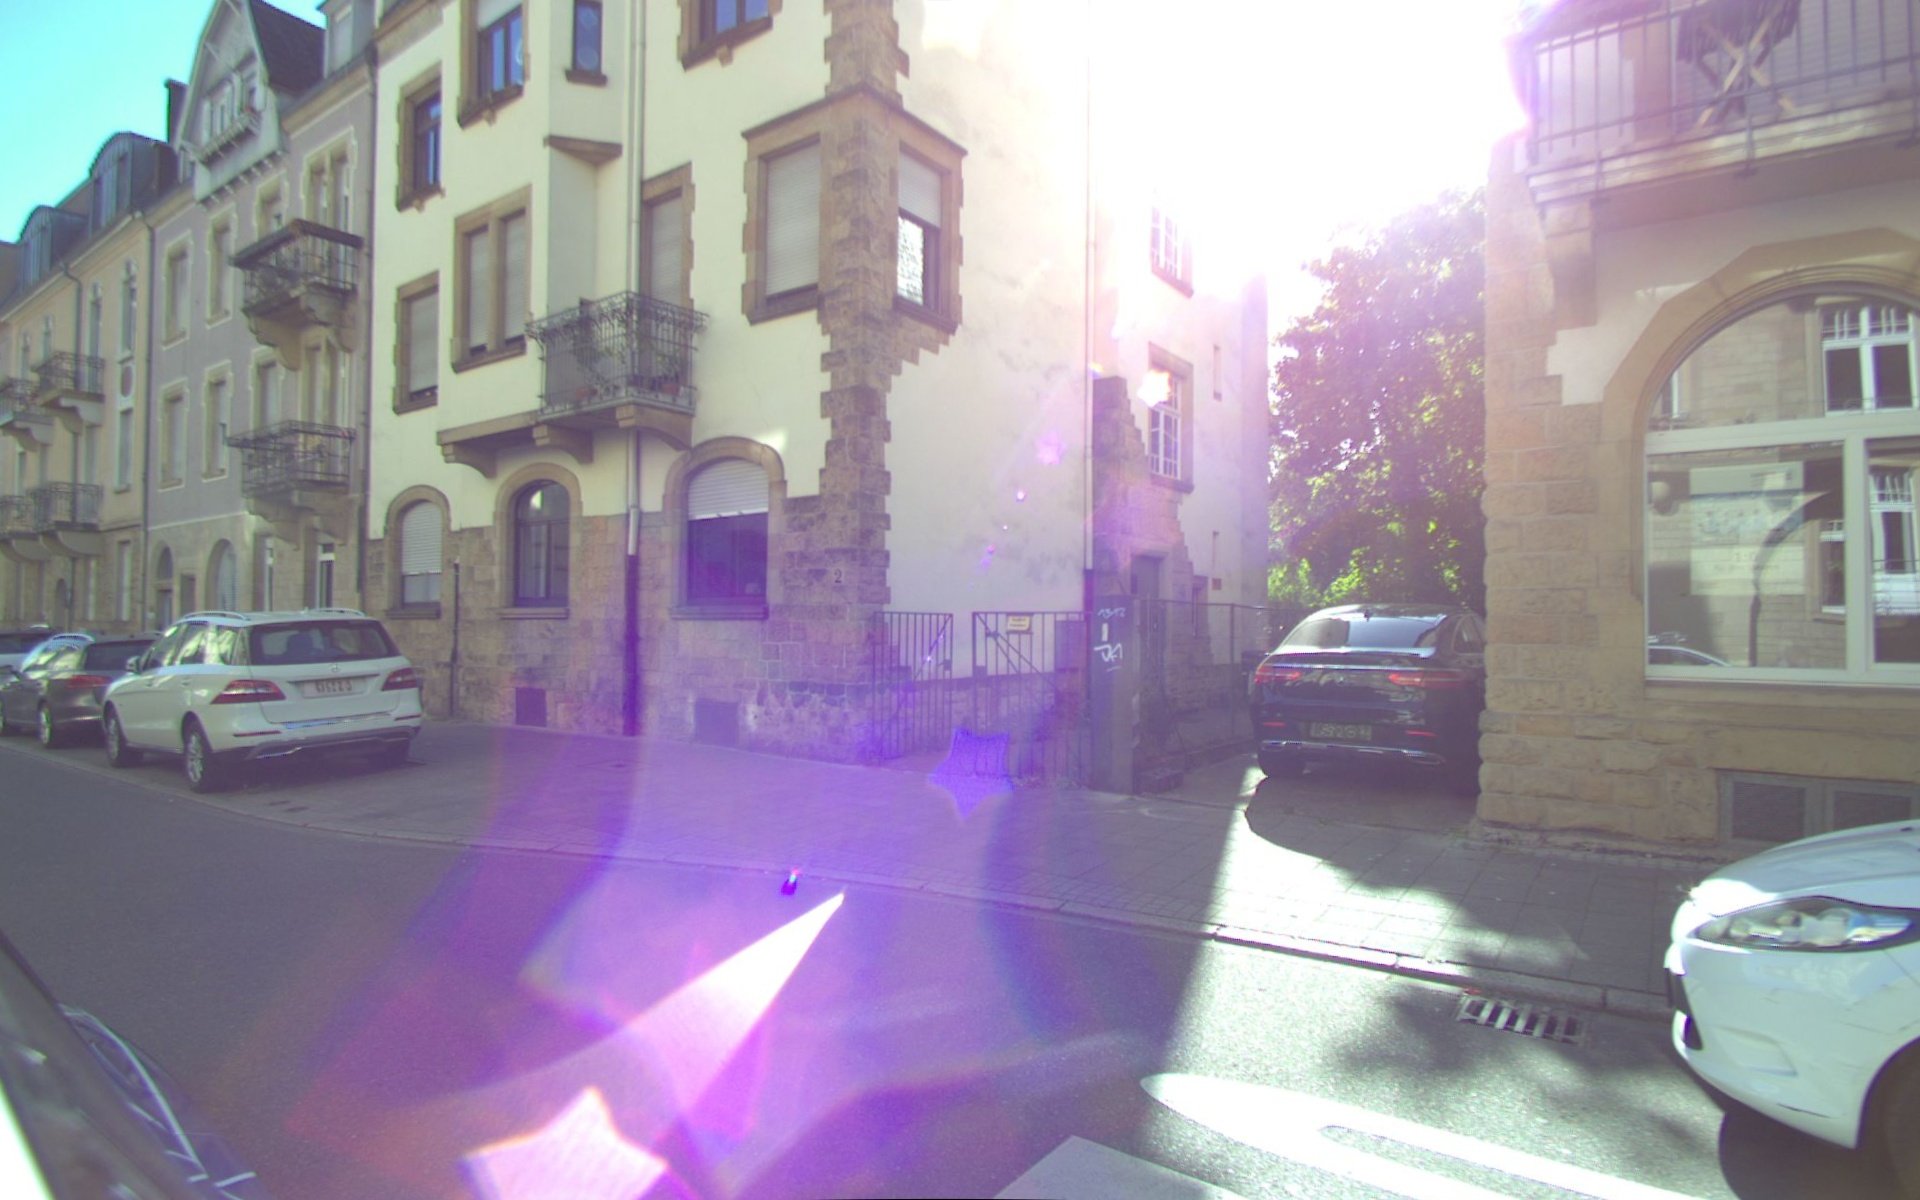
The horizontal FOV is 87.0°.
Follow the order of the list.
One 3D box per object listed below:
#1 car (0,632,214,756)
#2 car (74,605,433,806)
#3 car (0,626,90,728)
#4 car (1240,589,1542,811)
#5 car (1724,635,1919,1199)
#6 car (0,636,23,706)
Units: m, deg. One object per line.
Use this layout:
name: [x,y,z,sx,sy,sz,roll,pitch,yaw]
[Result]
car: [-12.413,1.238,14.466,4.270,1.498,1.560,-2,-1,35]
car: [-7.919,1.005,11.175,4.718,1.735,1.874,-2,0,37]
car: [-17.048,1.314,17.751,4.010,1.595,1.700,-2,1,35]
car: [4.457,0.867,10.116,1.906,1.741,3.932,-2,-3,36]
car: [3.998,0.822,2.150,3.730,1.475,1.618,-1,-2,39]
car: [-21.272,1.517,21.072,3.654,1.403,1.660,-2,1,32]
